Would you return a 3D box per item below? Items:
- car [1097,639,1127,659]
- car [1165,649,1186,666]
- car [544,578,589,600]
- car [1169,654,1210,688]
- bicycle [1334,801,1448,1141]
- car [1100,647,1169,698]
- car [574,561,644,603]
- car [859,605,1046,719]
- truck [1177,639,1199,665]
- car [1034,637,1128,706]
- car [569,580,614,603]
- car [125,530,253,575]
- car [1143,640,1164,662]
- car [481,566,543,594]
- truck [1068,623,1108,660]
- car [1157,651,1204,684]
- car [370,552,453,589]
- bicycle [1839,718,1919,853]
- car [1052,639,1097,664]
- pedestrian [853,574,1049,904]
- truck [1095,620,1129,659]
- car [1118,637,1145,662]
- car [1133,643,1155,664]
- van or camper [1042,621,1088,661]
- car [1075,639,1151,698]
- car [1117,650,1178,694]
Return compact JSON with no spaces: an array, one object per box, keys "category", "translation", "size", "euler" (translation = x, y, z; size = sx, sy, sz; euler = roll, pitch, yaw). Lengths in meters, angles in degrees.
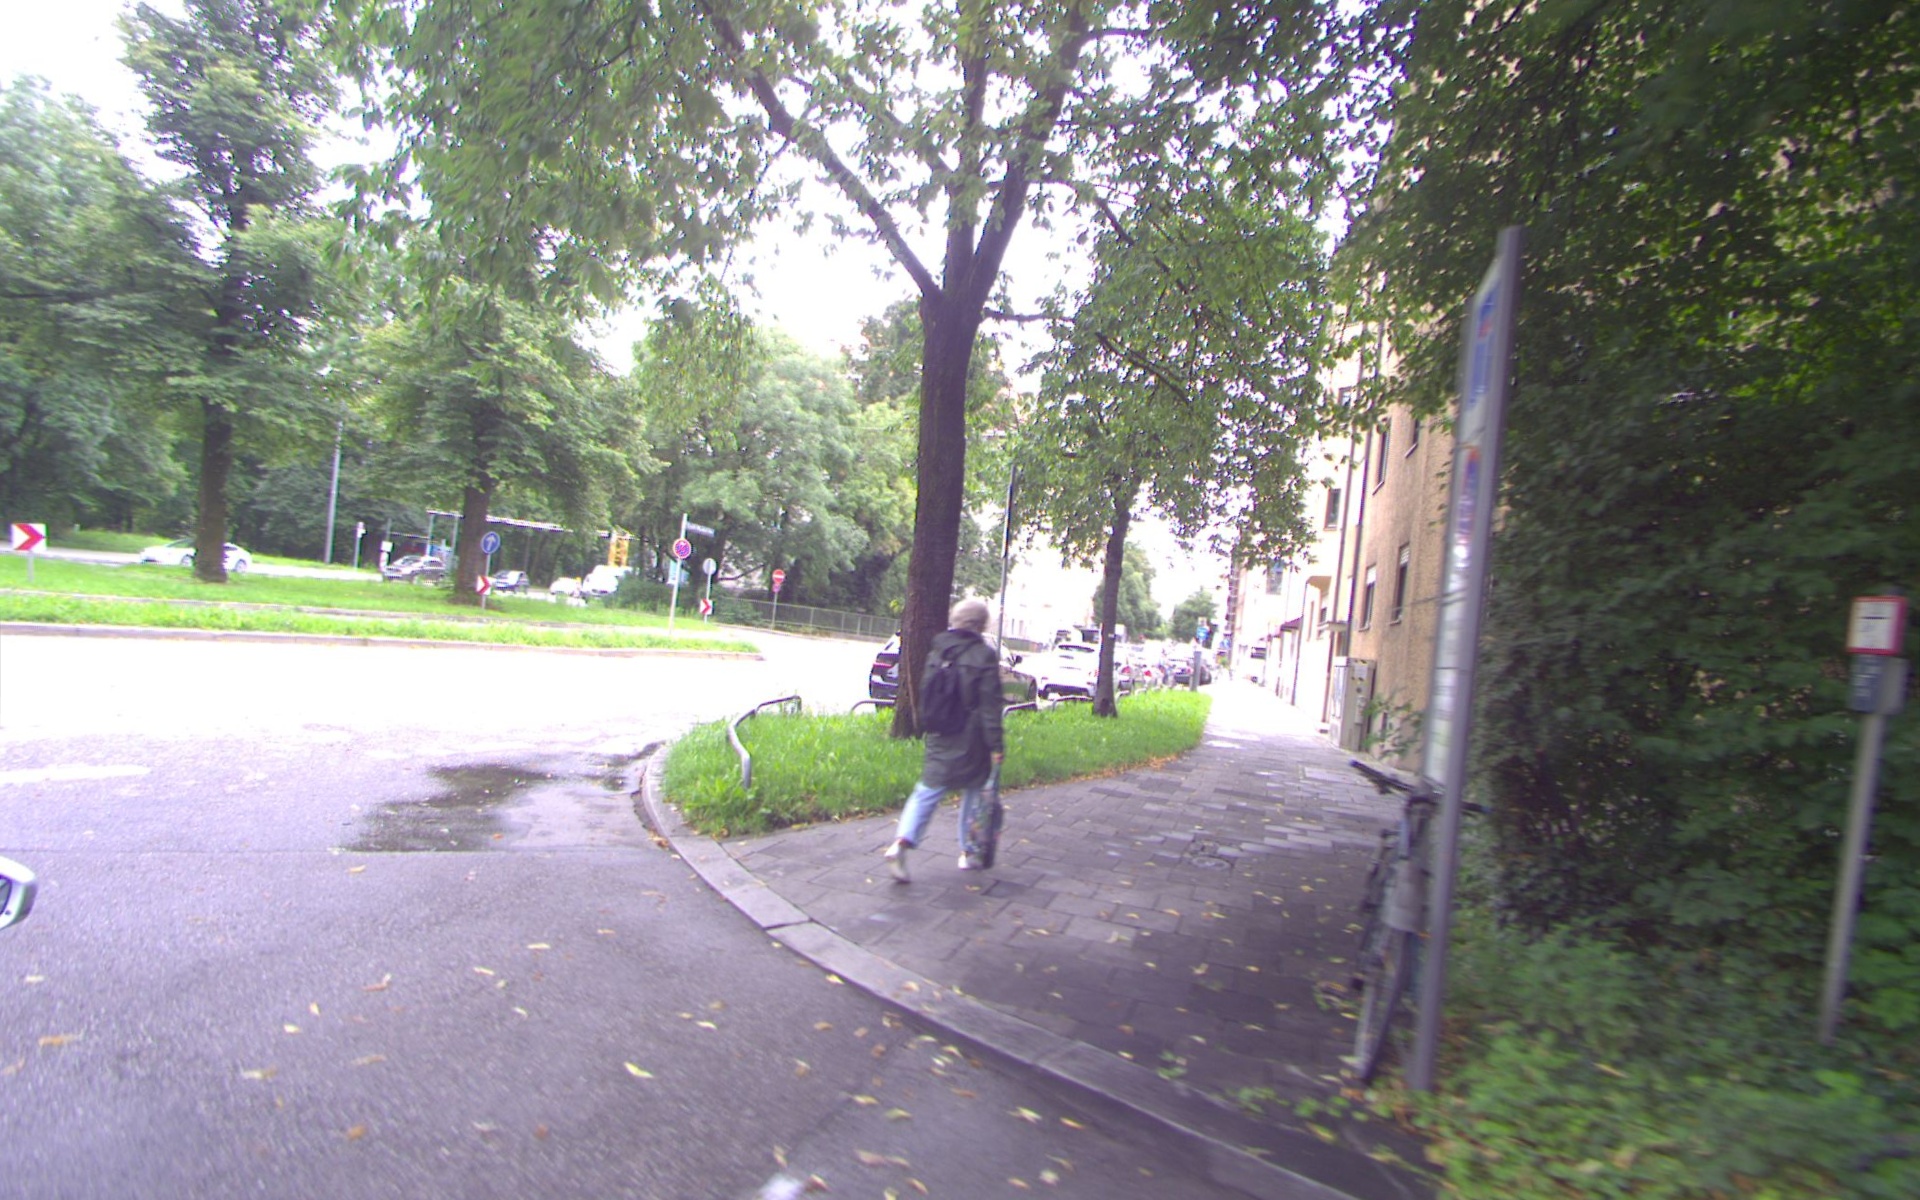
[{"category":"car","translation":[12.729,4.056,83.971],"size":[1.959,1.446,4.142],"euler":[6,-1,15]},{"category":"car","translation":[22.898,6.075,106.770],"size":[1.959,1.446,4.142],"euler":[6,-1,15]},{"category":"car","translation":[-32.049,-0.884,82.055],"size":[1.963,1.463,4.425],"euler":[5,-2,-2]},{"category":"car","translation":[13.056,4.001,57.070],"size":[1.729,1.699,4.709],"euler":[5,-2,18]},{"category":"bicycle","translation":[1.564,1.249,3.634],"size":[0.245,0.891,1.079],"euler":[6,-1,24]},{"category":"car","translation":[6.149,2.499,35.116],"size":[1.664,1.514,4.437],"euler":[5,-2,18]},{"category":"car","translation":[-23.269,-1.141,66.905],"size":[2.264,2.296,5.133],"euler":[6,-2,6]},{"category":"car","translation":[0.043,1.017,16.596],"size":[1.764,1.514,4.379],"euler":[3,-3,17]},{"category":"truck","translation":[29.861,6.803,131.827],"size":[2.452,3.008,5.332],"euler":[7,-1,14]},{"category":"car","translation":[3.212,1.828,26.111],"size":[1.602,1.514,3.823],"euler":[5,-2,18]},{"category":"car","translation":[-28.600,-0.598,78.217],"size":[1.863,1.464,4.300],"euler":[6,-1,-2]},{"category":"car","translation":[-34.287,-2.086,44.917],"size":[1.962,1.463,4.428],"euler":[5,-2,6]},{"category":"car","translation":[24.274,6.394,125.867],"size":[1.909,2.509,4.786],"euler":[7,-1,16]},{"category":"car","translation":[-29.553,-1.275,66.534],"size":[1.861,1.464,4.036],"euler":[6,-1,6]},{"category":"truck","translation":[11.790,3.791,92.170],"size":[2.729,2.908,7.205],"euler":[6,-1,12]},{"category":"car","translation":[11.386,3.480,51.872],"size":[1.730,1.514,3.824],"euler":[5,-2,21]},{"category":"car","translation":[-33.199,-1.761,61.049],"size":[1.962,1.738,4.653],"euler":[5,-2,6]},{"category":"bicycle","translation":[10.255,1.924,9.813],"size":[2.385,1.232,0.704],"euler":[5,-1,14]},{"category":"car","translation":[7.686,3.440,67.382],"size":[1.959,1.446,4.906],"euler":[6,-1,18]},{"category":"pedestrian","translation":[-0.016,0.752,5.749],"size":[0.660,1.642,0.981],"euler":[6,-2,19]},{"category":"truck","translation":[17.347,4.544,114.611],"size":[2.964,3.998,7.002],"euler":[7,-1,13]},{"category":"car","translation":[15.926,4.513,93.050],"size":[1.962,2.038,4.002],"euler":[6,0,14]},{"category":"car","translation":[20.382,5.911,111.409],"size":[1.962,2.038,4.003],"euler":[6,-1,14]},{"category":"van or camper","translation":[8.634,3.324,82.067],"size":[2.559,2.875,6.188],"euler":[6,-1,15]},{"category":"car","translation":[4.687,2.063,30.433],"size":[1.602,1.514,3.789],"euler":[5,-2,18]},{"category":"car","translation":[7.568,2.861,40.353],"size":[1.729,1.514,4.490],"euler":[5,-2,18]}]
